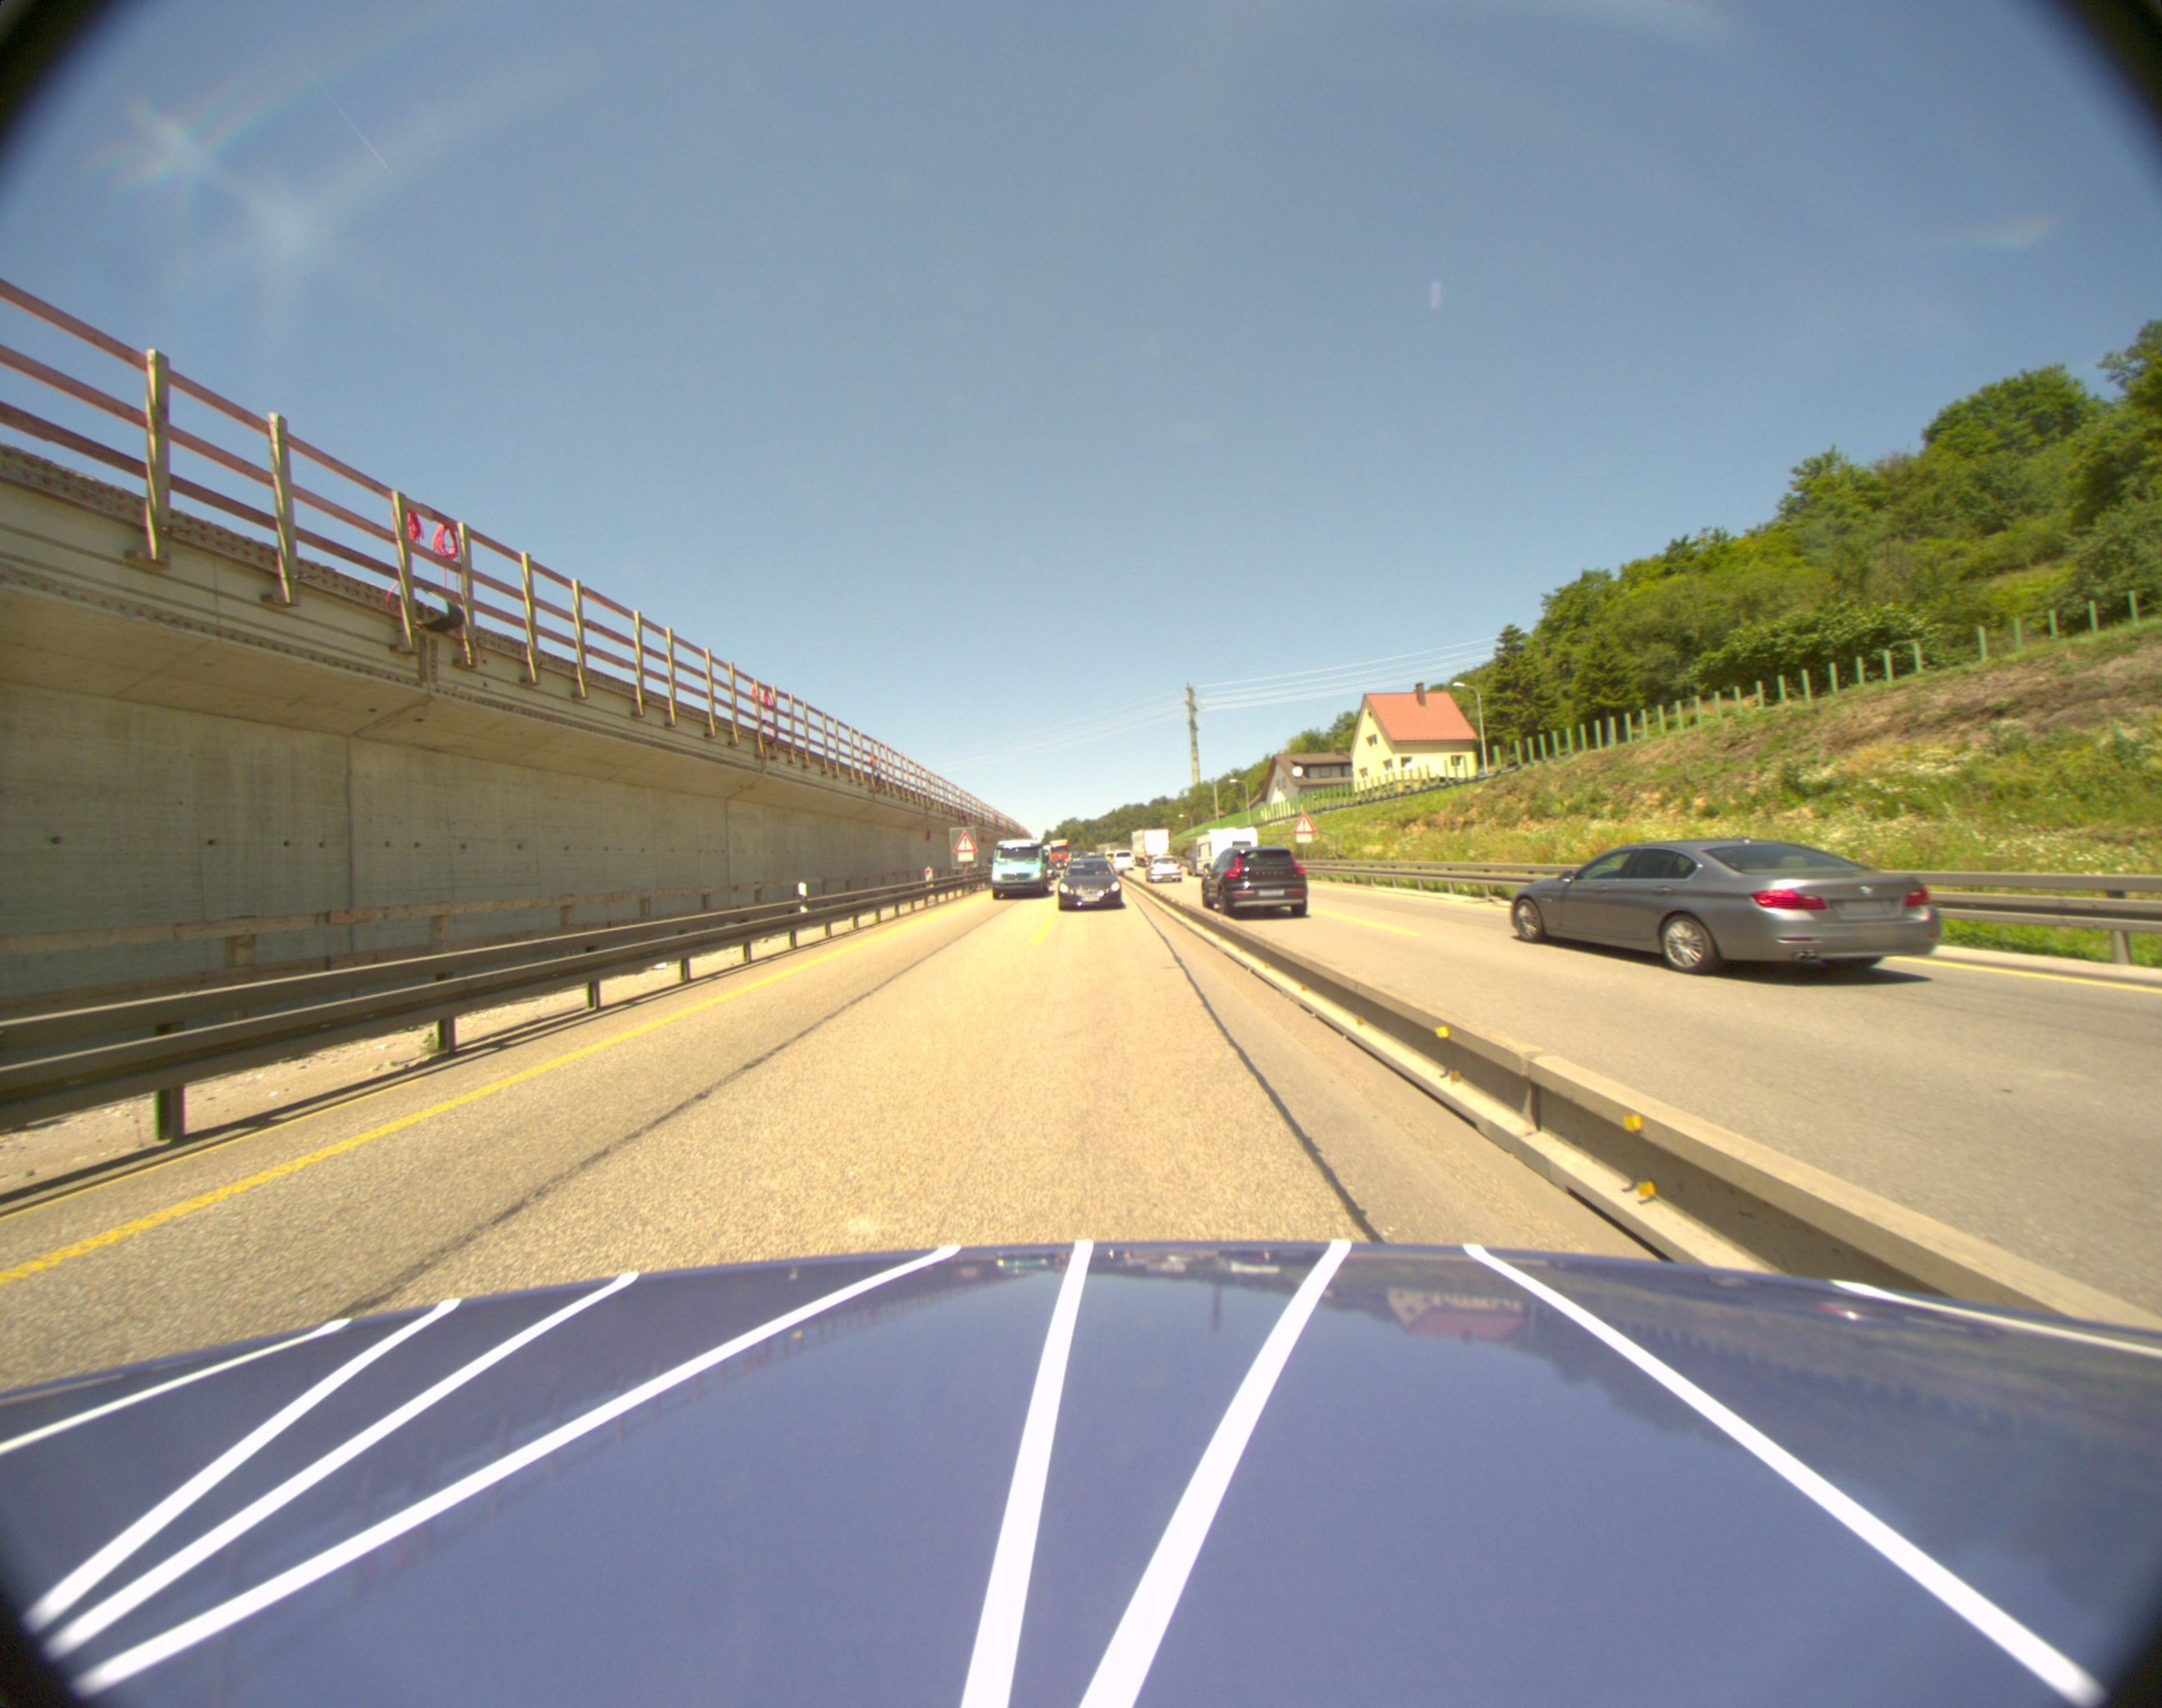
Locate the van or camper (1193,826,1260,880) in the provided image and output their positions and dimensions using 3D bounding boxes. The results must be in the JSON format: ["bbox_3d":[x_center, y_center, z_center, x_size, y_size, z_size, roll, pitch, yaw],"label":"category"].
[{"bbox_3d":[7.811,-0.075,41.507,2.356,2.619,6.902,-2,1,1],"label":"van or camper"}]

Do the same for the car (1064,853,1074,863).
[{"bbox_3d":[-2.600,0.916,168.741,1.998,2.002,3.999,-2,1,1],"label":"car"}]

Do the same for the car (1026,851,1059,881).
[{"bbox_3d":[-2.570,0.769,51.728,1.885,1.805,4.250,-2,1,0],"label":"car"}]

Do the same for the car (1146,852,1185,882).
[{"bbox_3d":[4.469,0.668,40.622,1.671,1.442,3.905,-2,0,1],"label":"car"}]

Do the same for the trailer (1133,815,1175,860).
[{"bbox_3d":[7.880,-1.734,84.306,3.111,4.416,14.627,-2,1,0],"label":"trailer"}]

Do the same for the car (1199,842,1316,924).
[{"bbox_3d":[4.052,0.614,18.091,1.875,1.674,4.000,-2,0,1],"label":"car"}]

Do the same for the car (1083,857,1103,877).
[{"bbox_3d":[1.300,1.354,82.997,1.998,2.002,3.999,-2,1,0],"label":"car"}]

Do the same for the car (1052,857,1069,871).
[{"bbox_3d":[-2.484,1.172,93.893,1.883,1.532,4.281,-2,1,0],"label":"car"}]

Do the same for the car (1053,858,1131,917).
[{"bbox_3d":[0.343,0.911,22.512,1.998,1.440,4.602,-2,0,1],"label":"car"}]

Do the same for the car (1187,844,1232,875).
[{"bbox_3d":[7.926,0.281,47.311,1.998,1.745,4.687,-2,1,1],"label":"car"}]

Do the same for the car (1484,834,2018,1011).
[{"bbox_3d":[7.385,0.586,9.427,1.998,1.499,5.300,-2,1,1],"label":"car"}]

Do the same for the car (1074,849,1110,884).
[{"bbox_3d":[0.690,0.677,43.949,1.884,1.805,4.250,-2,1,2],"label":"car"}]

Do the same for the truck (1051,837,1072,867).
[{"bbox_3d":[-2.970,-0.352,117.152,2.750,4.222,9.094,-2,1,0],"label":"truck"}]

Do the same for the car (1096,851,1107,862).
[{"bbox_3d":[3.690,0.358,134.575,1.884,1.805,4.000,-2,1,2],"label":"car"}]

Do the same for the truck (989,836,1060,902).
[{"bbox_3d":[-2.205,0.518,31.845,2.139,2.343,7.432,-2,1,1],"label":"truck"}]

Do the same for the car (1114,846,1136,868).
[{"bbox_3d":[4.263,0.296,74.142,1.998,2.002,4.166,-2,0,1],"label":"car"}]

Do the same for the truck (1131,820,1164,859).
[{"bbox_3d":[7.927,-1.752,91.647,3.111,4.368,8.505,-2,1,0],"label":"truck"}]

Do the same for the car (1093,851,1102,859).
[{"bbox_3d":[3.877,0.190,173.842,1.884,1.805,4.000,-2,1,2],"label":"car"}]

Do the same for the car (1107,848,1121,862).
[{"bbox_3d":[4.505,0.170,103.848,1.884,1.805,4.000,-2,1,2],"label":"car"}]
